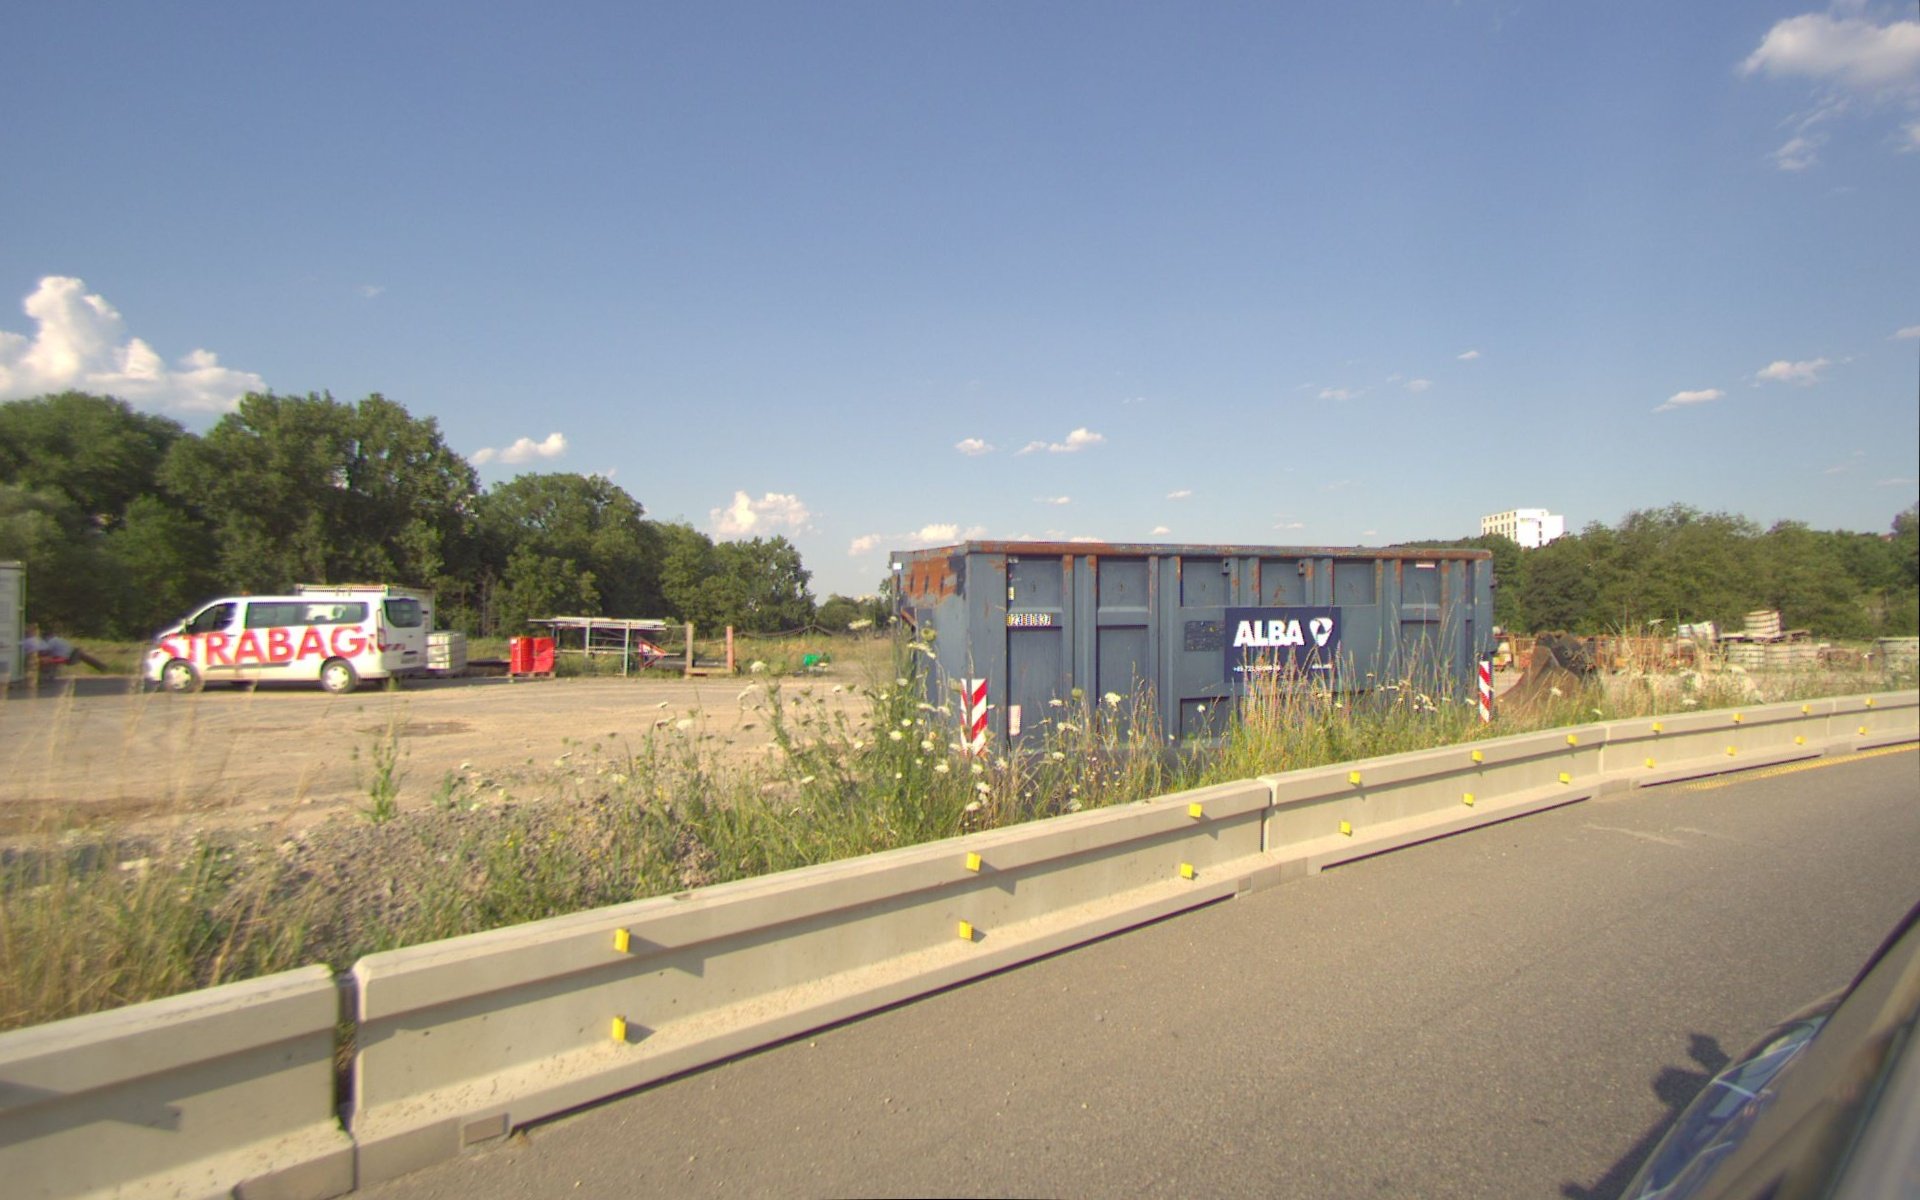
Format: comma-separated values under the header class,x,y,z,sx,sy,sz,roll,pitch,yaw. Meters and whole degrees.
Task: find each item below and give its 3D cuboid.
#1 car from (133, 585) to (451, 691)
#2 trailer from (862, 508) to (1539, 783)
class,x,y,z,sx,sy,sz,roll,pitch,yaw
car,-14.136,0.768,21.702,5.219,2.105,2.487,-1,0,0
trailer,2.714,0.395,11.678,7.077,2.445,3.019,-1,-1,-21
